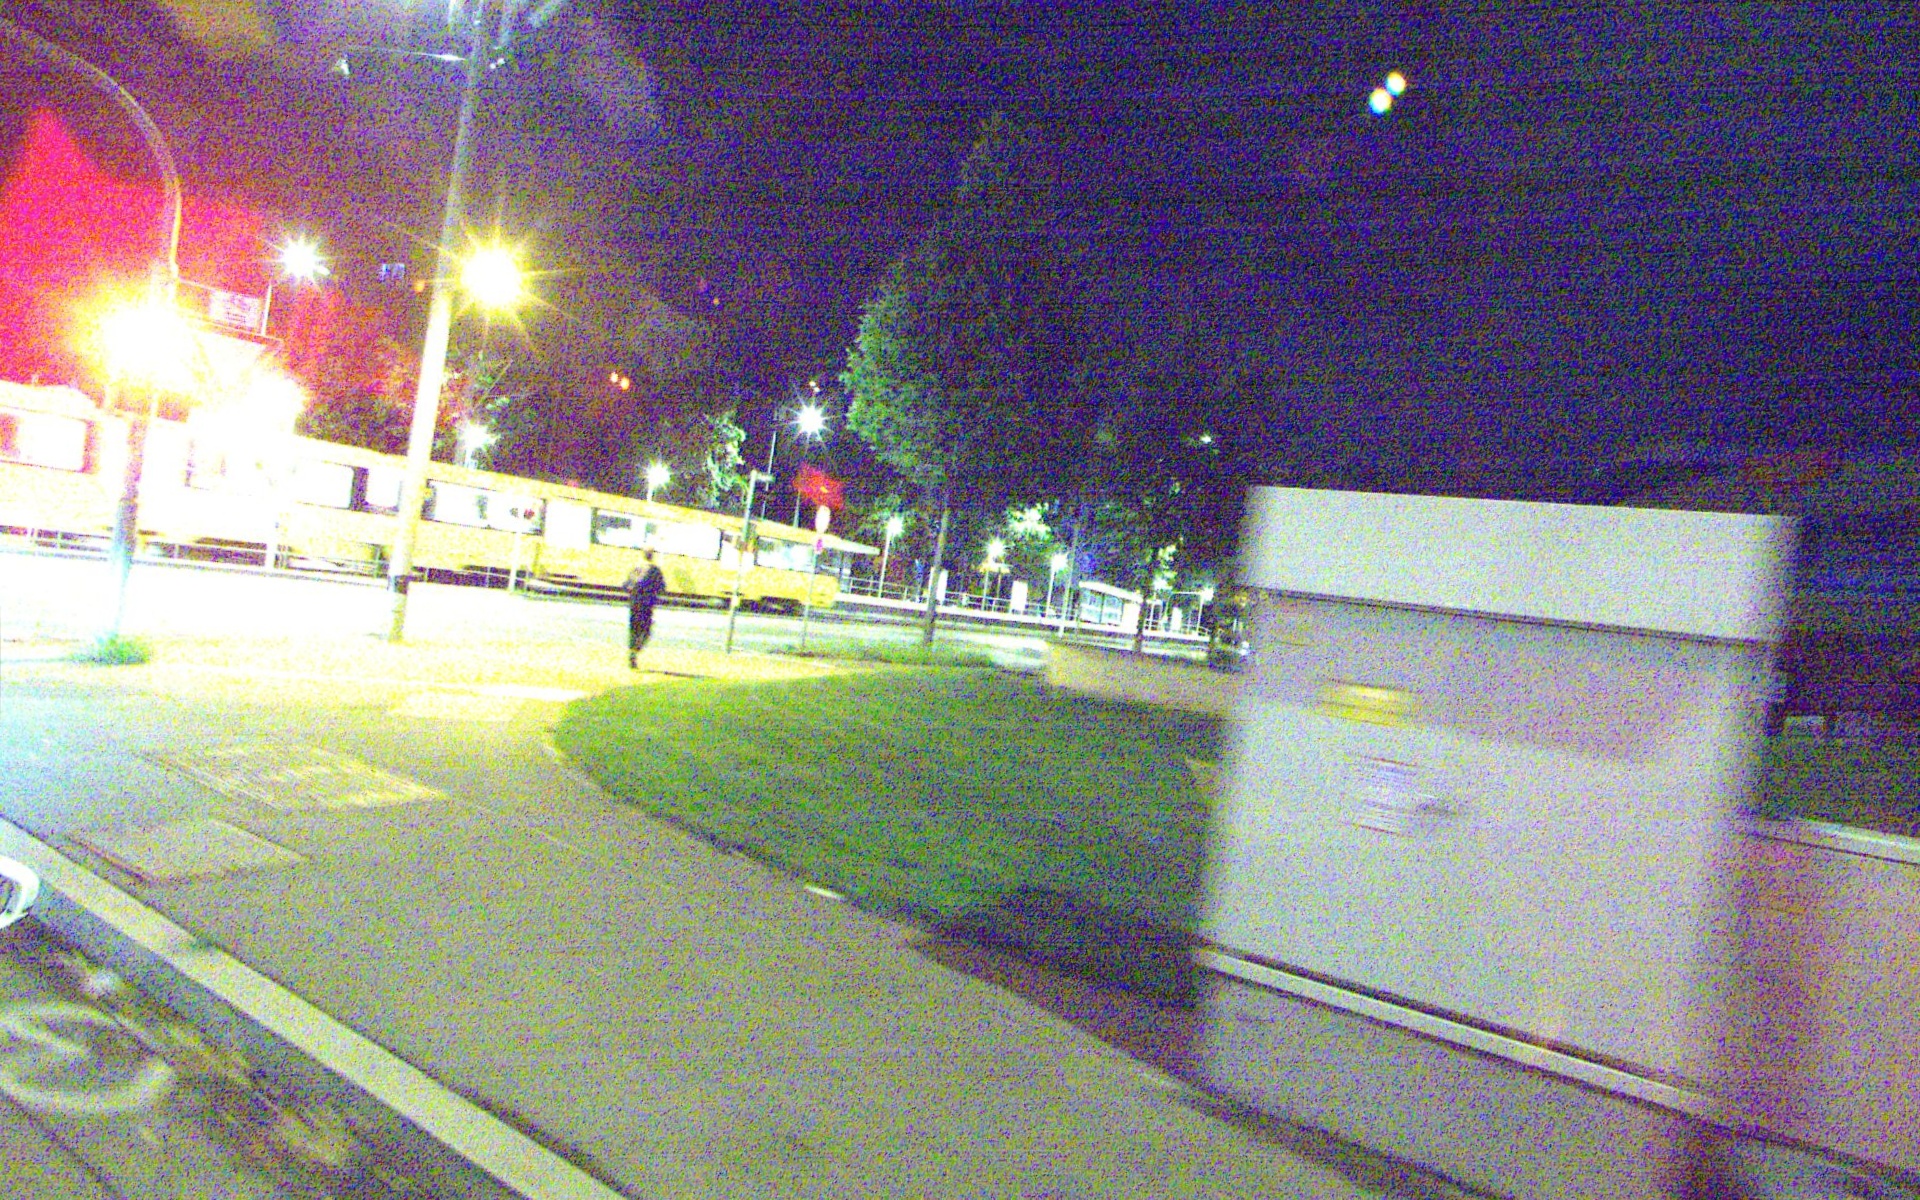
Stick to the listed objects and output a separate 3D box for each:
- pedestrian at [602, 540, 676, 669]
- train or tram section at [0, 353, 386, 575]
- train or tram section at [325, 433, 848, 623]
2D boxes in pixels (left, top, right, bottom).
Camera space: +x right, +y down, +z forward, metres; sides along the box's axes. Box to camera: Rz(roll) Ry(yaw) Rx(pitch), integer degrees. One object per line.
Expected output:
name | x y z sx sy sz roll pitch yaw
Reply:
pedestrian | -4.405 0.060 13.834 0.867 1.677 0.835 3 1 -17
train or tram section | -22.307 -3.526 20.717 2.919 3.897 18.422 9 1 36
train or tram section | -11.575 -1.919 35.910 2.919 3.895 18.861 6 -1 36
